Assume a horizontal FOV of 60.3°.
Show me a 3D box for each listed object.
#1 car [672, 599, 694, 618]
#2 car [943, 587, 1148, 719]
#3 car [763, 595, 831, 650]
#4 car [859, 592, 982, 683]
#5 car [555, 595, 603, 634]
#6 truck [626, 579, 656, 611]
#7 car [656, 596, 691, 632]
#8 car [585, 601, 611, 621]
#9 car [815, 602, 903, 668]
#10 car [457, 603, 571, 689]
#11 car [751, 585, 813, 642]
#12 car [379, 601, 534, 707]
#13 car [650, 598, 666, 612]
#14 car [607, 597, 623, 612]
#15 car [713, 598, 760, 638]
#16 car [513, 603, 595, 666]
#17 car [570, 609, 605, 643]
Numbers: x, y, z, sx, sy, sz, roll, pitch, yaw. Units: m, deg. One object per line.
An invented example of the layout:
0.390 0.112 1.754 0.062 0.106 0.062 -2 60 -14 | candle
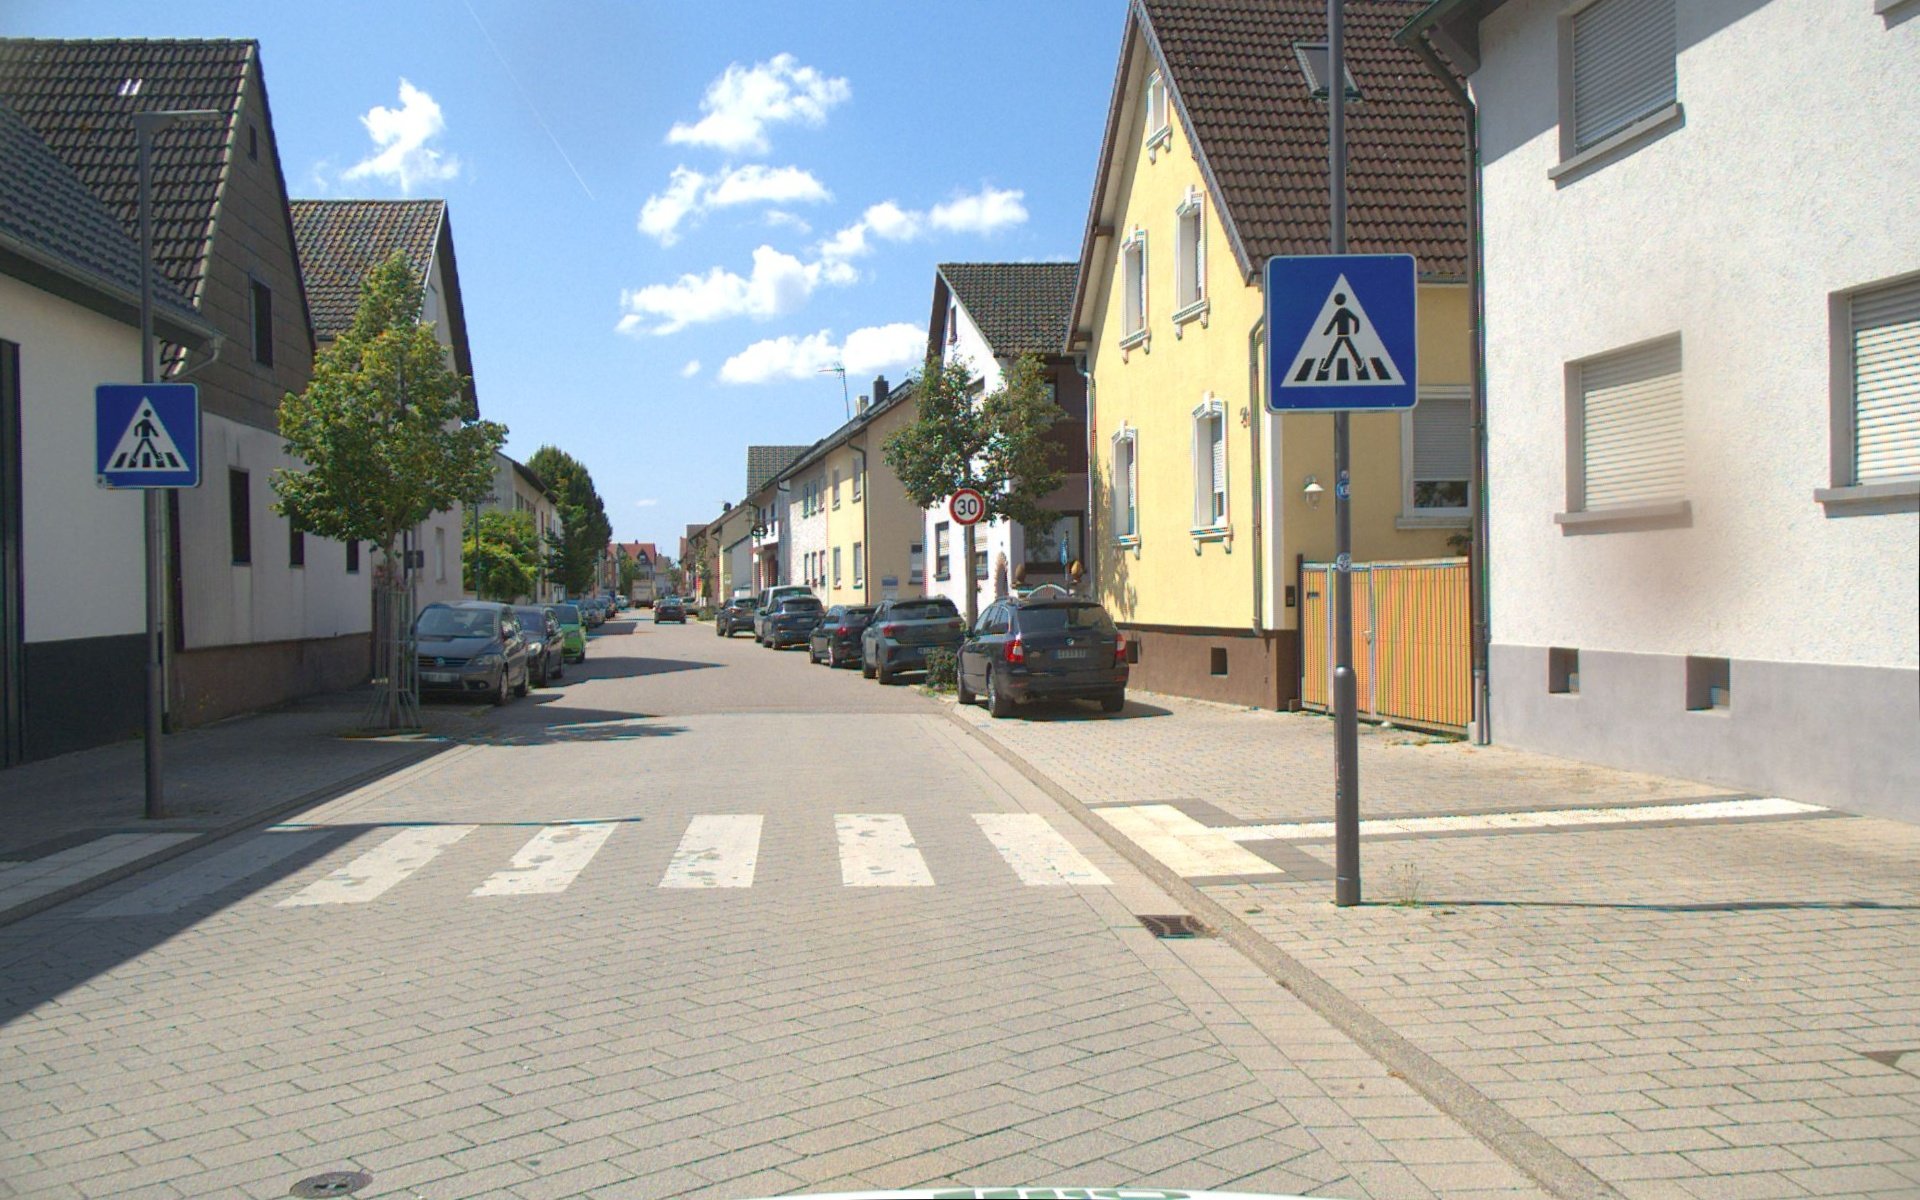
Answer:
-22.133 0.682 132.079 1.657 1.478 3.784 -1 0 -10 | car
1.029 0.648 22.192 1.796 1.497 4.266 -3 0 -10 | car
-5.227 0.685 52.685 1.843 1.619 3.991 -1 0 -10 | car
-0.822 0.665 31.615 1.813 1.590 3.685 -1 0 -10 | car
-17.861 0.652 77.712 1.957 1.691 3.990 -1 0 -10 | car
-41.527 -0.673 215.286 3.502 4.023 8.554 -1 0 -12 | truck
-17.394 0.826 100.413 1.957 2.093 4.363 -1 0 -10 | car
-28.978 0.859 132.544 1.882 1.467 3.990 -1 0 -10 | car
-2.428 0.787 39.191 1.679 1.411 3.697 -1 0 -10 | car
-8.808 0.851 32.975 1.718 1.559 4.251 0 0 -9 | car
-6.287 0.442 58.129 1.872 1.904 3.991 -1 0 -10 | car
-8.046 0.813 26.757 1.714 1.557 3.994 0 0 -7 | car
-32.522 0.533 178.015 1.658 1.478 3.781 -1 0 -12 | car
-43.491 0.541 208.559 1.814 1.737 3.710 -1 0 -10 | car
-9.062 0.688 66.882 1.722 1.519 3.991 -1 0 -10 | car
-10.536 0.857 43.135 1.760 1.501 3.861 -1 0 -10 | car
-20.417 1.402 90.688 1.653 1.789 3.607 -1 0 -10 | car
